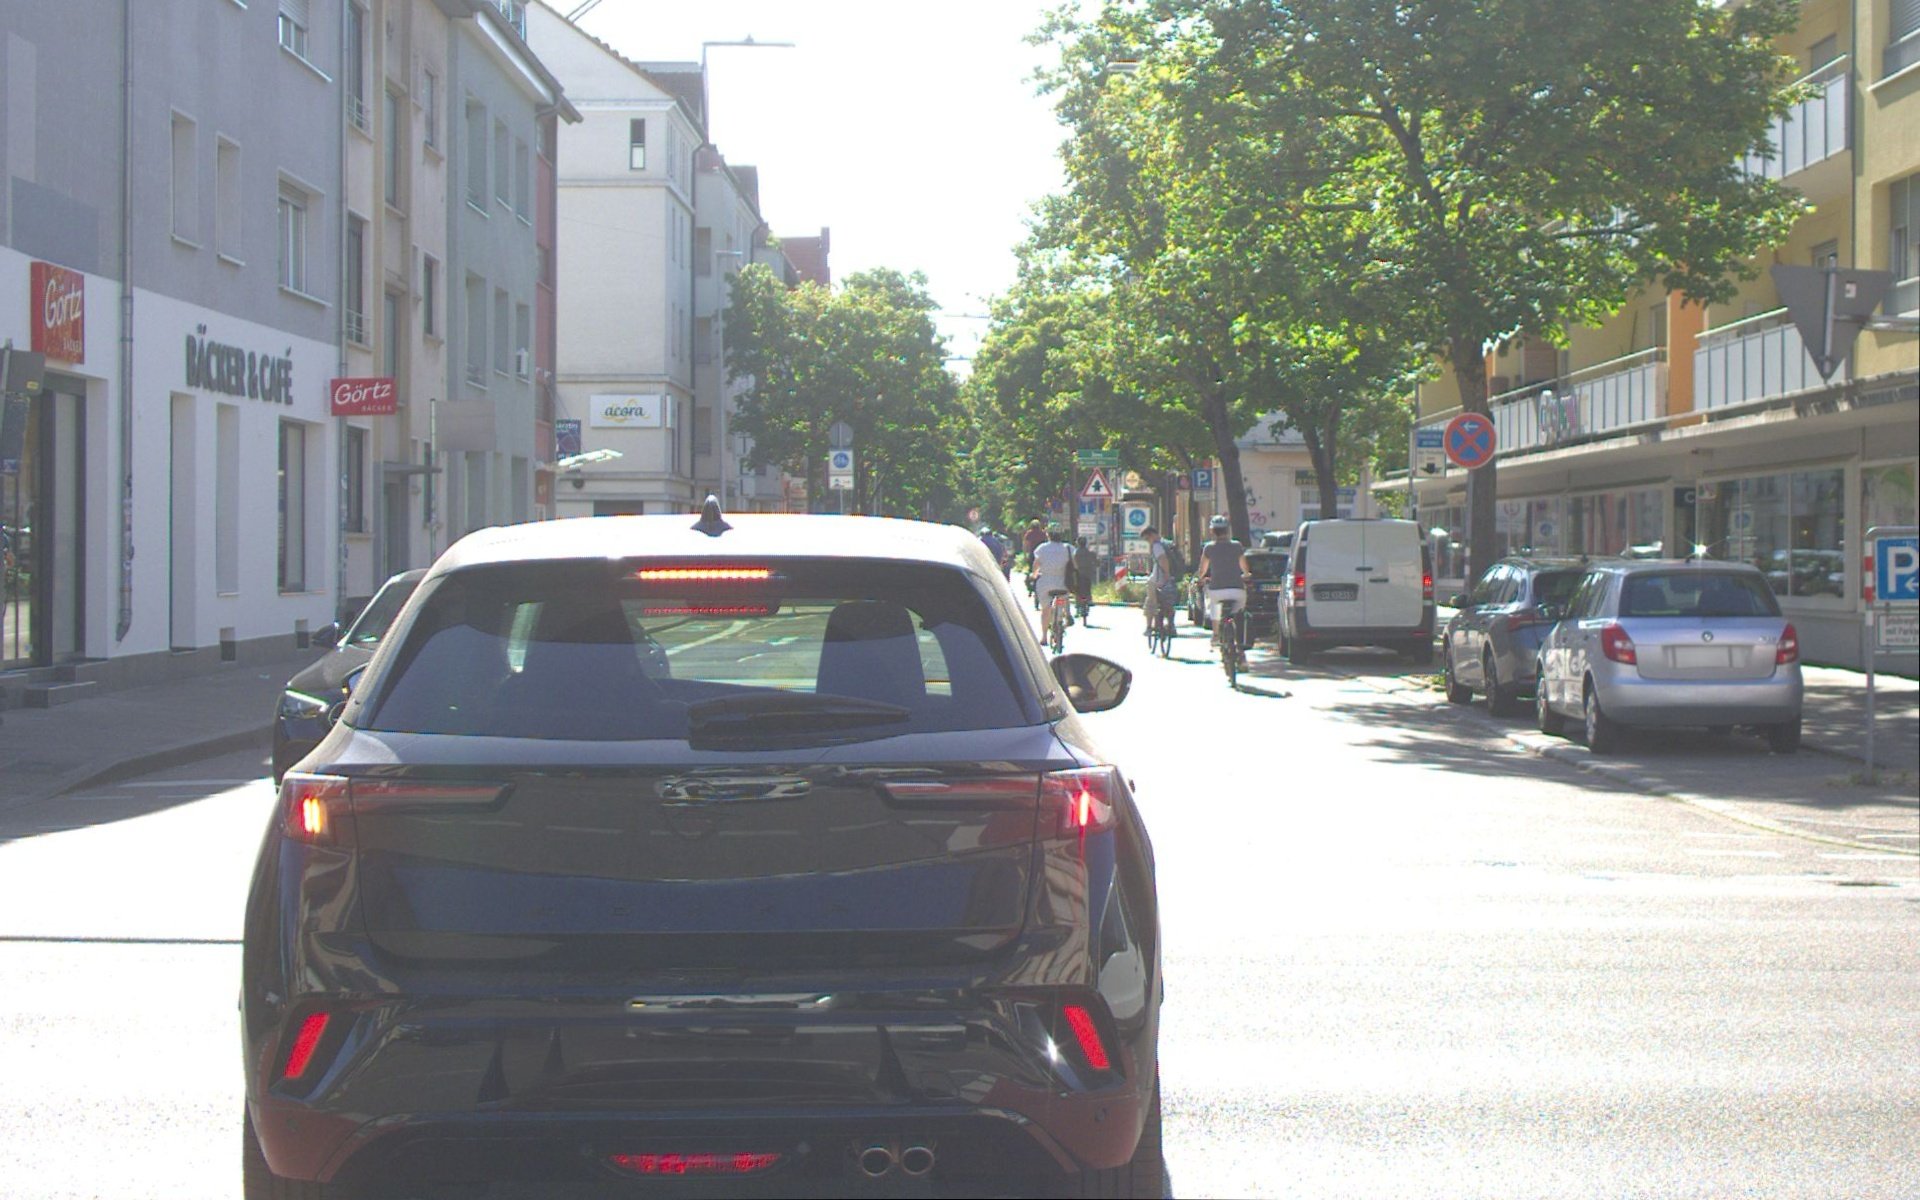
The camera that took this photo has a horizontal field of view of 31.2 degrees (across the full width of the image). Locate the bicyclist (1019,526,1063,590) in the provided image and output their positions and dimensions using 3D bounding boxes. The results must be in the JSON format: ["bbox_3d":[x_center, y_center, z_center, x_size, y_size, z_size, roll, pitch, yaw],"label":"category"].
[{"bbox_3d":[1.713,-0.894,72.948,0.856,1.310,1.210,3,1,0],"label":"bicyclist"}]

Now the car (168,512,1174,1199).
[{"bbox_3d":[-0.522,0.605,8.053,1.762,1.553,4.000,0,1,0],"label":"car"}]

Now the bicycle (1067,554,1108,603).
[{"bbox_3d":[2.305,-0.395,62.213,0.691,0.863,1.876,0,1,1],"label":"bicycle"}]

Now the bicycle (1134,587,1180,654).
[{"bbox_3d":[2.679,0.271,46.859,0.547,0.863,1.876,0,1,1],"label":"bicycle"}]

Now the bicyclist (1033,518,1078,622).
[{"bbox_3d":[1.281,-0.408,46.080,0.588,1.378,0.823,0,1,1],"label":"bicyclist"}]

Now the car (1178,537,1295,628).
[{"bbox_3d":[4.681,-0.319,58.582,1.712,1.478,3.381,0,1,0],"label":"car"}]

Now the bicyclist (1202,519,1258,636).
[{"bbox_3d":[2.937,-0.254,37.430,0.547,1.257,0.803,0,1,1],"label":"bicyclist"}]

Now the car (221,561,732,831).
[{"bbox_3d":[-2.803,0.507,21.005,1.805,1.408,4.424,-1,1,10],"label":"car"}]

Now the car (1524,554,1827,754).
[{"bbox_3d":[5.689,0.383,27.692,1.712,1.478,3.480,0,1,0],"label":"car"}]

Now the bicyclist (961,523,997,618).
[{"bbox_3d":[0.334,-0.532,60.863,0.632,1.663,1.050,0,1,0],"label":"bicyclist"}]

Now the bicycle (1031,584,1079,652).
[{"bbox_3d":[1.270,0.236,46.016,0.620,0.863,1.876,0,1,1],"label":"bicycle"}]

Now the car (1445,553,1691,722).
[{"bbox_3d":[5.649,0.310,32.297,1.712,1.478,3.381,0,1,0],"label":"car"}]

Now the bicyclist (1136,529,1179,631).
[{"bbox_3d":[2.689,-0.275,46.919,0.547,1.378,0.823,0,1,1],"label":"bicyclist"}]

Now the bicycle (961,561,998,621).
[{"bbox_3d":[0.346,-0.165,61.070,0.632,1.037,1.795,0,1,0],"label":"bicycle"}]

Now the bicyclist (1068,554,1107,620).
[{"bbox_3d":[2.309,-0.241,62.187,0.692,1.189,0.595,0,1,1],"label":"bicyclist"}]

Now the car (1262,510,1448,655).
[{"bbox_3d":[5.258,-0.271,46.274,2.046,1.840,4.584,0,1,1],"label":"car"}]

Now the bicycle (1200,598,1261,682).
[{"bbox_3d":[2.938,0.426,37.510,0.547,0.863,1.876,0,1,1],"label":"bicycle"}]

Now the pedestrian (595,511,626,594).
[{"bbox_3d":[-6.704,-0.911,65.952,0.577,1.577,0.708,0,1,-5],"label":"pedestrian"}]

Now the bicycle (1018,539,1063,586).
[{"bbox_3d":[1.706,-0.807,73.051,0.856,0.941,2.307,3,1,0],"label":"bicycle"}]

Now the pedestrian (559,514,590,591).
[{"bbox_3d":[-7.383,-0.916,65.905,0.577,1.462,0.703,0,1,-5],"label":"pedestrian"}]
